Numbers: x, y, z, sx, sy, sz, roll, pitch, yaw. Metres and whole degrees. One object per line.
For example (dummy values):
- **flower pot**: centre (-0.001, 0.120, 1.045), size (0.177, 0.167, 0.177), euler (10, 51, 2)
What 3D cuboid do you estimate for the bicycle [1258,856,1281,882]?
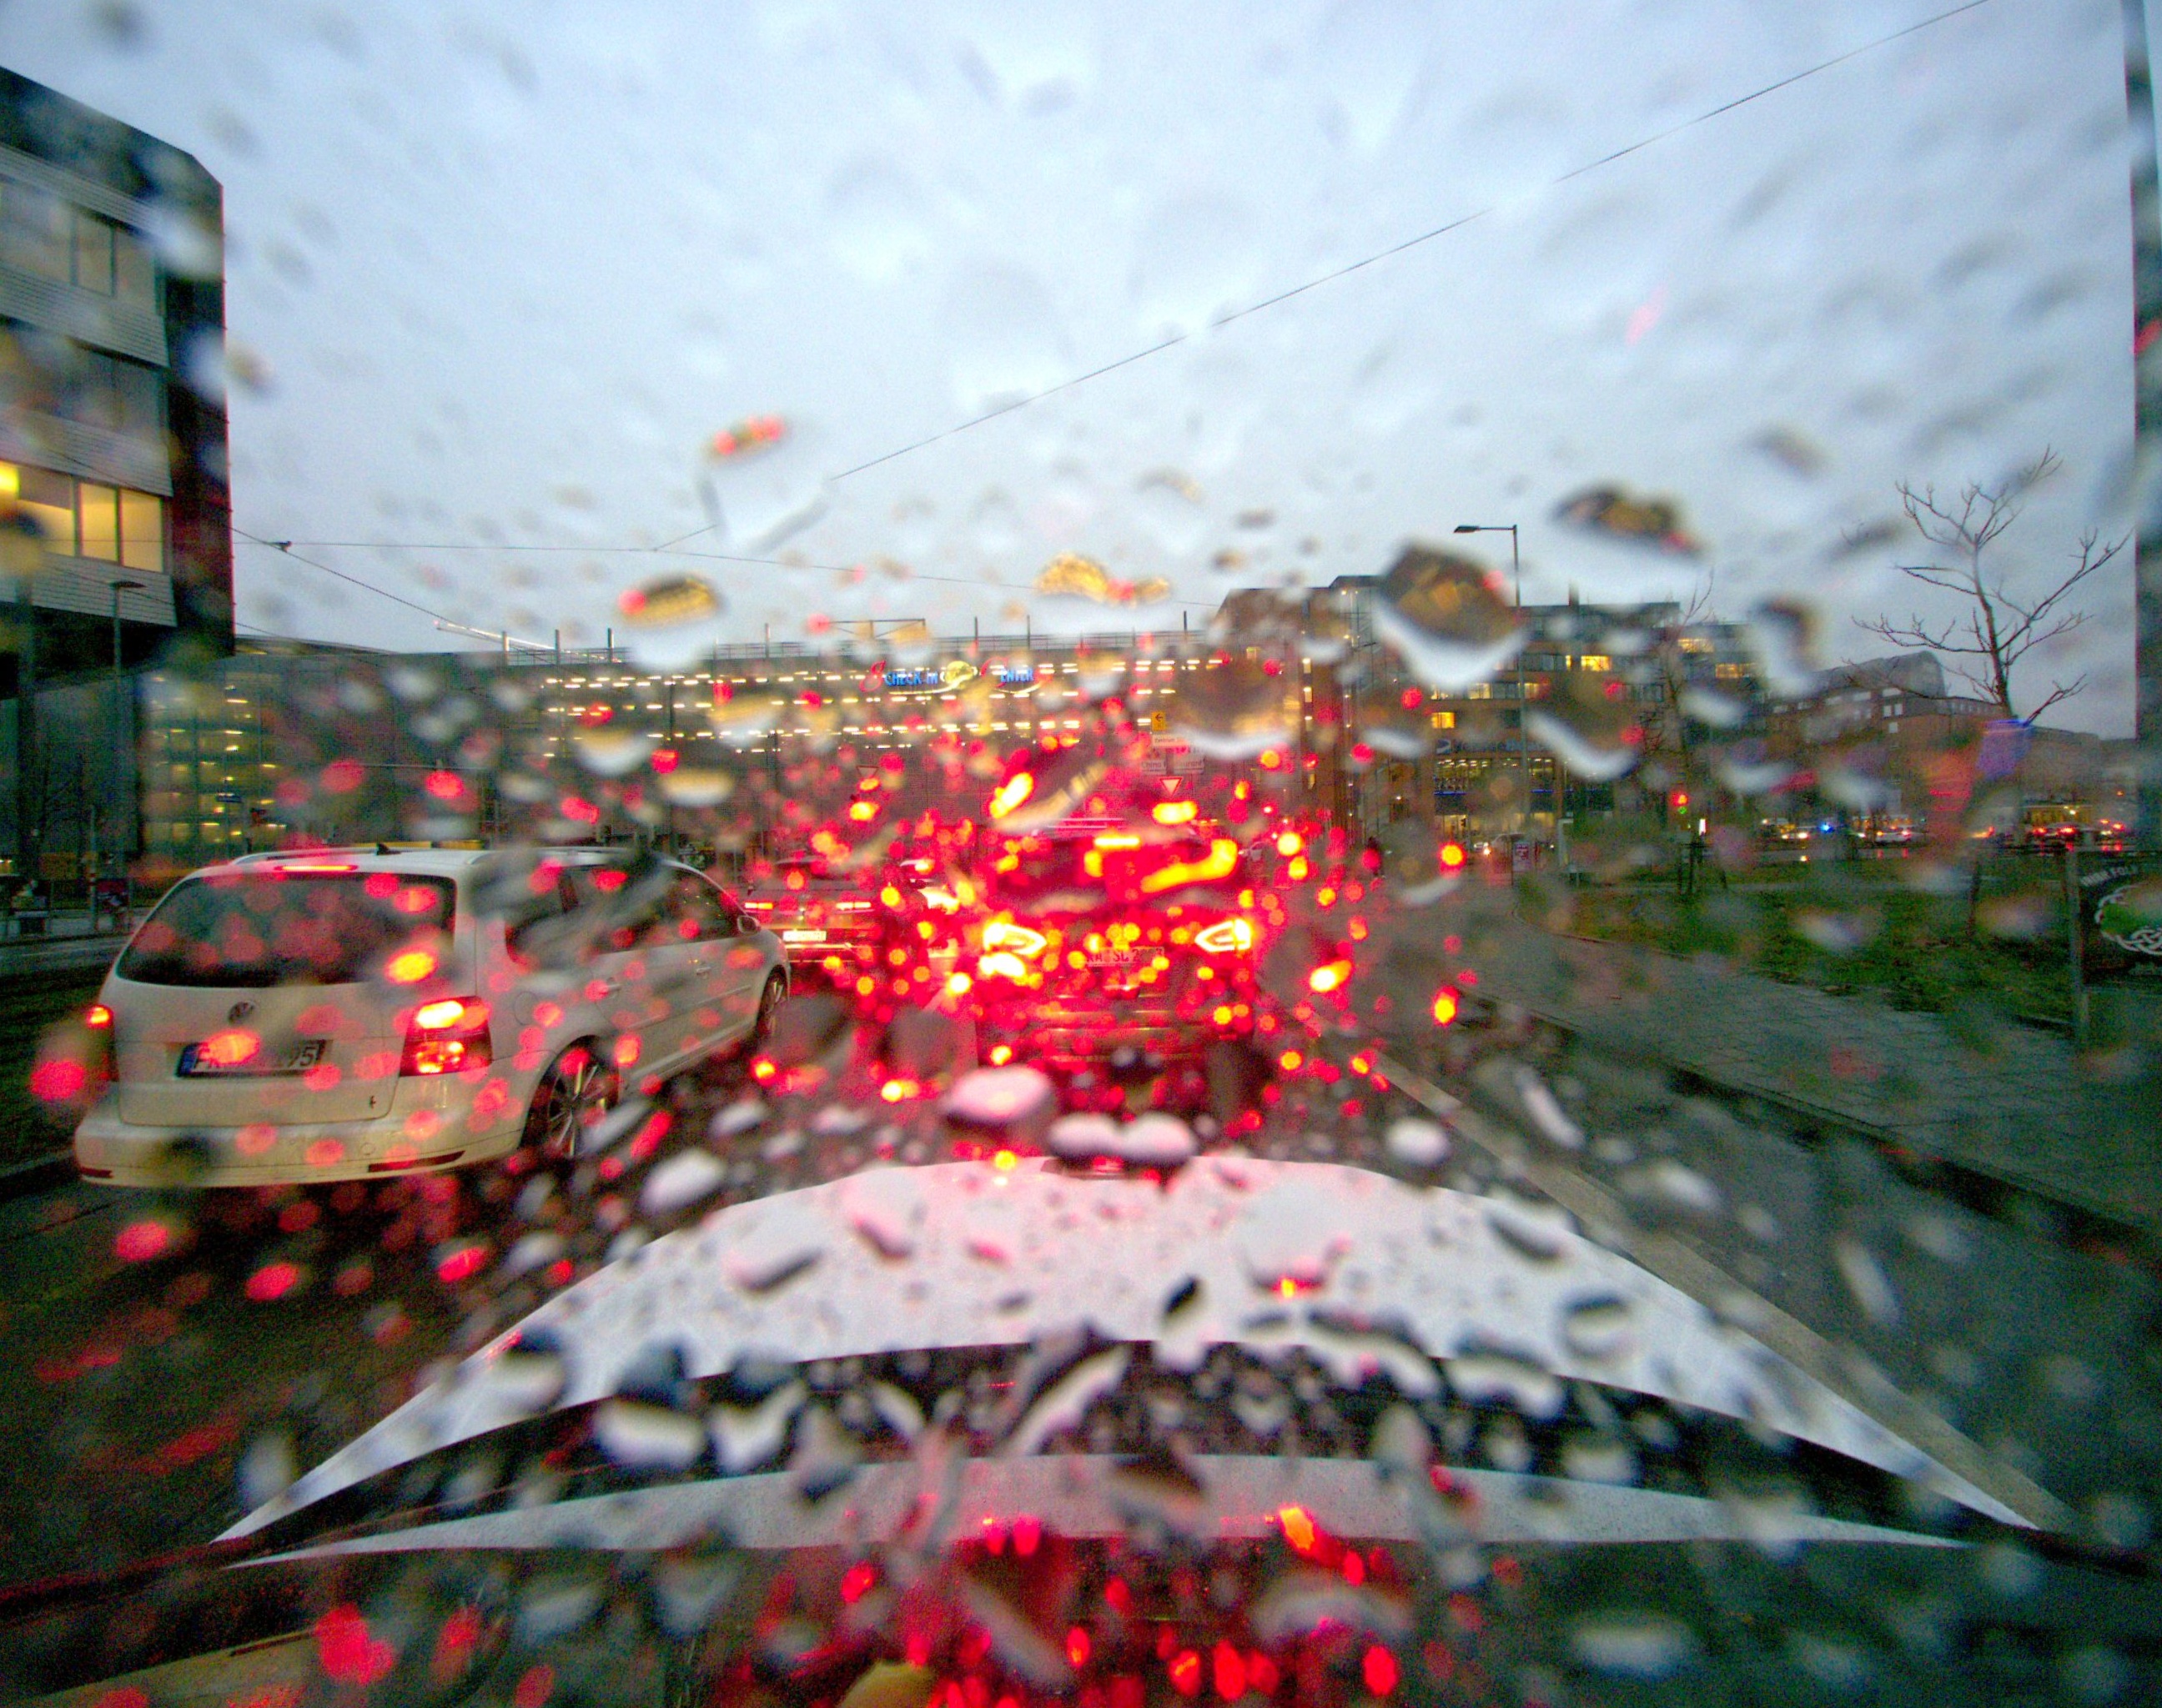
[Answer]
- **bicycle**: centre (7.348, 0.571, 31.779), size (0.651, 0.973, 1.870), euler (-2, 0, 8)

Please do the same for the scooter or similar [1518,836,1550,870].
- **scooter or similar**: centre (16.956, -0.043, 30.476), size (1.312, 1.206, 0.331), euler (-2, 0, -27)

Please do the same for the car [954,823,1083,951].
- **car**: centre (-1.025, 0.472, 14.156), size (1.839, 1.806, 4.482), euler (-2, 0, -3)

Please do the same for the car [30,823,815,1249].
- **car**: centre (-3.251, 0.700, 5.294), size (1.666, 1.599, 4.221), euler (-2, 0, -1)

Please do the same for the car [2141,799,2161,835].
- **car**: centre (87.469, -2.993, 64.503), size (6.356, 2.827, 2.348), euler (-2, 0, -19)

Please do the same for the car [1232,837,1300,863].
- **car**: centre (14.907, -0.327, 65.744), size (4.937, 1.871, 1.902), euler (-2, 0, -4)

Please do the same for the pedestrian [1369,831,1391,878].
- **pedestrian**: centre (12.171, 0.023, 33.150), size (0.766, 1.877, 0.639), euler (-2, 0, 24)

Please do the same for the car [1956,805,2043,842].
- **car**: centre (64.807, -2.180, 57.467), size (5.975, 2.427, 1.986), euler (-2, 0, -20)

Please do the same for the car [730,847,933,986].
- **car**: centre (-3.338, 0.731, 11.810), size (1.817, 1.570, 4.355), euler (-2, 0, -4)

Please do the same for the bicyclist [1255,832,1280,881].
- **bicyclist**: centre (7.258, 0.092, 31.723), size (0.786, 1.890, 0.991), euler (-2, 0, 7)

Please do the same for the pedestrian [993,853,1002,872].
- **pedestrian**: centre (-8.025, 0.779, 78.152), size (0.786, 1.787, 0.732), euler (-2, 0, -3)

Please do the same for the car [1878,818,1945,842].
- **car**: centre (56.366, -1.612, 55.260), size (3.681, 1.496, 1.635), euler (-2, 0, -17)

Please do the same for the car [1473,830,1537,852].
- **car**: centre (35.741, -1.080, 68.678), size (4.640, 1.677, 1.779), euler (-2, 0, -12)

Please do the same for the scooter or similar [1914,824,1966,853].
- **scooter or similar**: centre (36.416, -0.659, 34.542), size (1.548, 1.227, 0.669), euler (0, -1, -4)

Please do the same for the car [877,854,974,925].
- **car**: centre (-3.590, 0.761, 19.449), size (1.754, 1.463, 3.912), euler (-1, 0, -4)

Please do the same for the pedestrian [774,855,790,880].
- **pedestrian**: centre (-28.982, 1.299, 78.974), size (1.106, 2.439, 0.966), euler (0, -1, 1)

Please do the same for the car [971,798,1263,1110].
- **car**: centre (0.259, 0.567, 6.669), size (1.668, 1.779, 4.001), euler (0, 0, 1)

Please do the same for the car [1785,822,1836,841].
- **car**: centre (70.007, -2.153, 78.146), size (4.618, 1.719, 1.914), euler (-2, 0, -25)

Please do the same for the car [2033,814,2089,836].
- **car**: centre (71.437, -2.124, 59.370), size (3.470, 1.520, 1.513), euler (-1, 0, -19)

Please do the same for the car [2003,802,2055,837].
- **car**: centre (82.548, -2.971, 70.905), size (6.386, 2.827, 2.337), euler (-2, 0, -35)

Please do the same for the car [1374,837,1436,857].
- **car**: centre (26.737, -0.551, 67.265), size (4.320, 1.486, 1.863), euler (-2, 0, -5)
